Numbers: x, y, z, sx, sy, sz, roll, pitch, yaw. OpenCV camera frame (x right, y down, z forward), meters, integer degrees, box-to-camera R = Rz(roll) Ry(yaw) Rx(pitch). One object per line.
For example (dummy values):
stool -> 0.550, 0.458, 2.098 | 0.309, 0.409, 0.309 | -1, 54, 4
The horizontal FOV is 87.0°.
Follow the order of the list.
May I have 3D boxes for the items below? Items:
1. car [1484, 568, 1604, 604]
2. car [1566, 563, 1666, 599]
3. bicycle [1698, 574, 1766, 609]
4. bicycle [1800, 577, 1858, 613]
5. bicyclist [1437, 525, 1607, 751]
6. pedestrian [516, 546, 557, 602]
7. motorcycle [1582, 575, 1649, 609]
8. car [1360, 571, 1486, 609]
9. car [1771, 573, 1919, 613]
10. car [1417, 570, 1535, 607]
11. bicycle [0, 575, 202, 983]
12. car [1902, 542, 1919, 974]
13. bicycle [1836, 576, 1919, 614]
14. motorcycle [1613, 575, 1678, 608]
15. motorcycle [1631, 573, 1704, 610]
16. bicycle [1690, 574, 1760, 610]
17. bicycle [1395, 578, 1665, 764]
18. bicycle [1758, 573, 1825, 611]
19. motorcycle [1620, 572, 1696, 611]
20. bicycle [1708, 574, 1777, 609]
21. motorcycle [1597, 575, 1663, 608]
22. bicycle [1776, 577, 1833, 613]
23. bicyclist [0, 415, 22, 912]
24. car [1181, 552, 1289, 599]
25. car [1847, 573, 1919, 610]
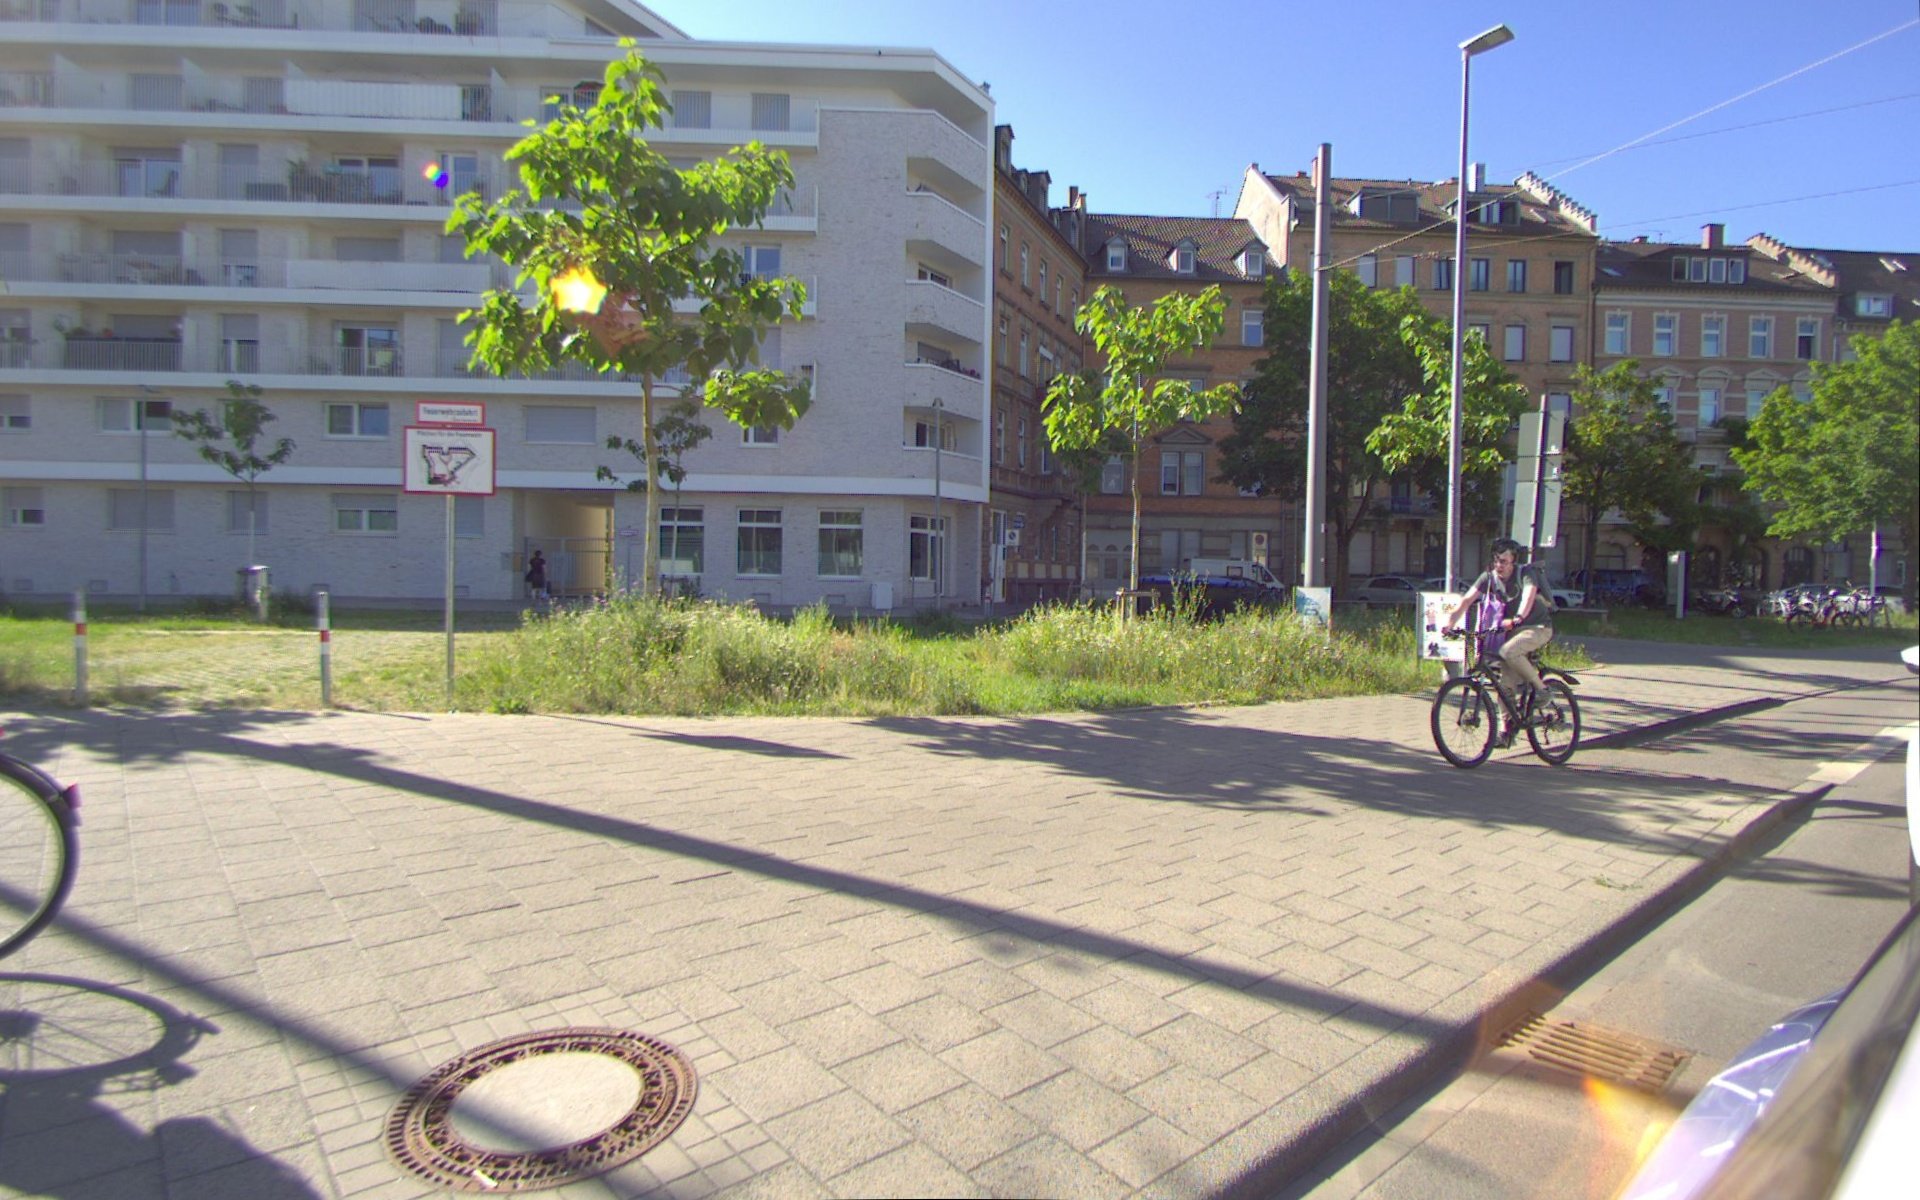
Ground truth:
car -> 22.325, -0.580, 38.782 | 1.513, 1.267, 3.700 | -1, 3, -39
car -> 30.871, -0.922, 47.659 | 3.631, 1.607, 1.552 | 1, 2, 0
bicycle -> 29.077, -0.321, 38.161 | 0.649, 1.284, 2.208 | 0, 0, -9
bicycle -> 32.032, -0.194, 37.343 | 0.653, 1.284, 2.196 | 0, 0, 12
bicyclist -> 4.532, 0.282, 8.192 | 0.951, 1.715, 0.737 | 0, 1, -20
pedestrian -> -13.216, -0.816, 31.589 | 0.829, 1.717, 0.985 | 2, 2, 2
motorcycle -> 26.023, -0.329, 40.235 | 0.649, 1.293, 2.324 | 0, 0, -18
car -> 17.346, -0.423, 38.116 | 1.648, 1.267, 4.170 | 0, 3, -28
car -> 34.682, -0.322, 39.602 | 1.651, 1.423, 4.324 | -1, 3, -38
car -> 19.669, -0.469, 38.726 | 1.648, 1.267, 3.709 | 0, 3, -28
bicycle -> -3.613, 0.529, 2.991 | 2.110, 1.212, 0.670 | 0, 1, -28
car -> 5.867, 0.609, 4.724 | 4.323, 1.667, 1.840 | 0, 0, -43
bicycle -> 31.626, -0.167, 34.773 | 2.180, 1.284, 0.657 | 0, 0, 25
motorcycle -> 27.484, -0.336, 40.620 | 0.649, 1.284, 2.209 | 0, 0, -18
motorcycle -> 26.151, -0.322, 37.478 | 0.649, 1.339, 2.208 | 0, 0, -23
bicycle -> 28.366, -0.311, 37.574 | 0.649, 1.284, 2.208 | 0, 0, -11
bicycle -> 4.627, 0.522, 8.213 | 2.031, 1.378, 0.739 | 0, 1, -20
bicycle -> 29.271, -0.293, 35.683 | 0.651, 1.284, 2.202 | 0, 0, 4
motorcycle -> 25.335, -0.307, 36.789 | 0.650, 1.347, 2.207 | 0, 0, -28
bicycle -> 29.720, -0.327, 38.473 | 0.649, 1.284, 2.208 | 0, 0, -9
motorcycle -> 26.694, -0.337, 40.366 | 0.649, 1.300, 2.324 | 0, 0, -18
bicycle -> 30.937, -0.186, 37.120 | 0.653, 1.284, 2.196 | 0, 0, 12
bicyclist -> -3.540, 0.216, 3.016 | 0.952, 1.649, 0.670 | 0, 1, -29
car -> 12.657, -1.156, 46.791 | 4.416, 2.062, 2.054 | 1, 2, 0
car -> 37.819, -0.330, 39.971 | 1.649, 1.423, 3.832 | -1, 3, -32
